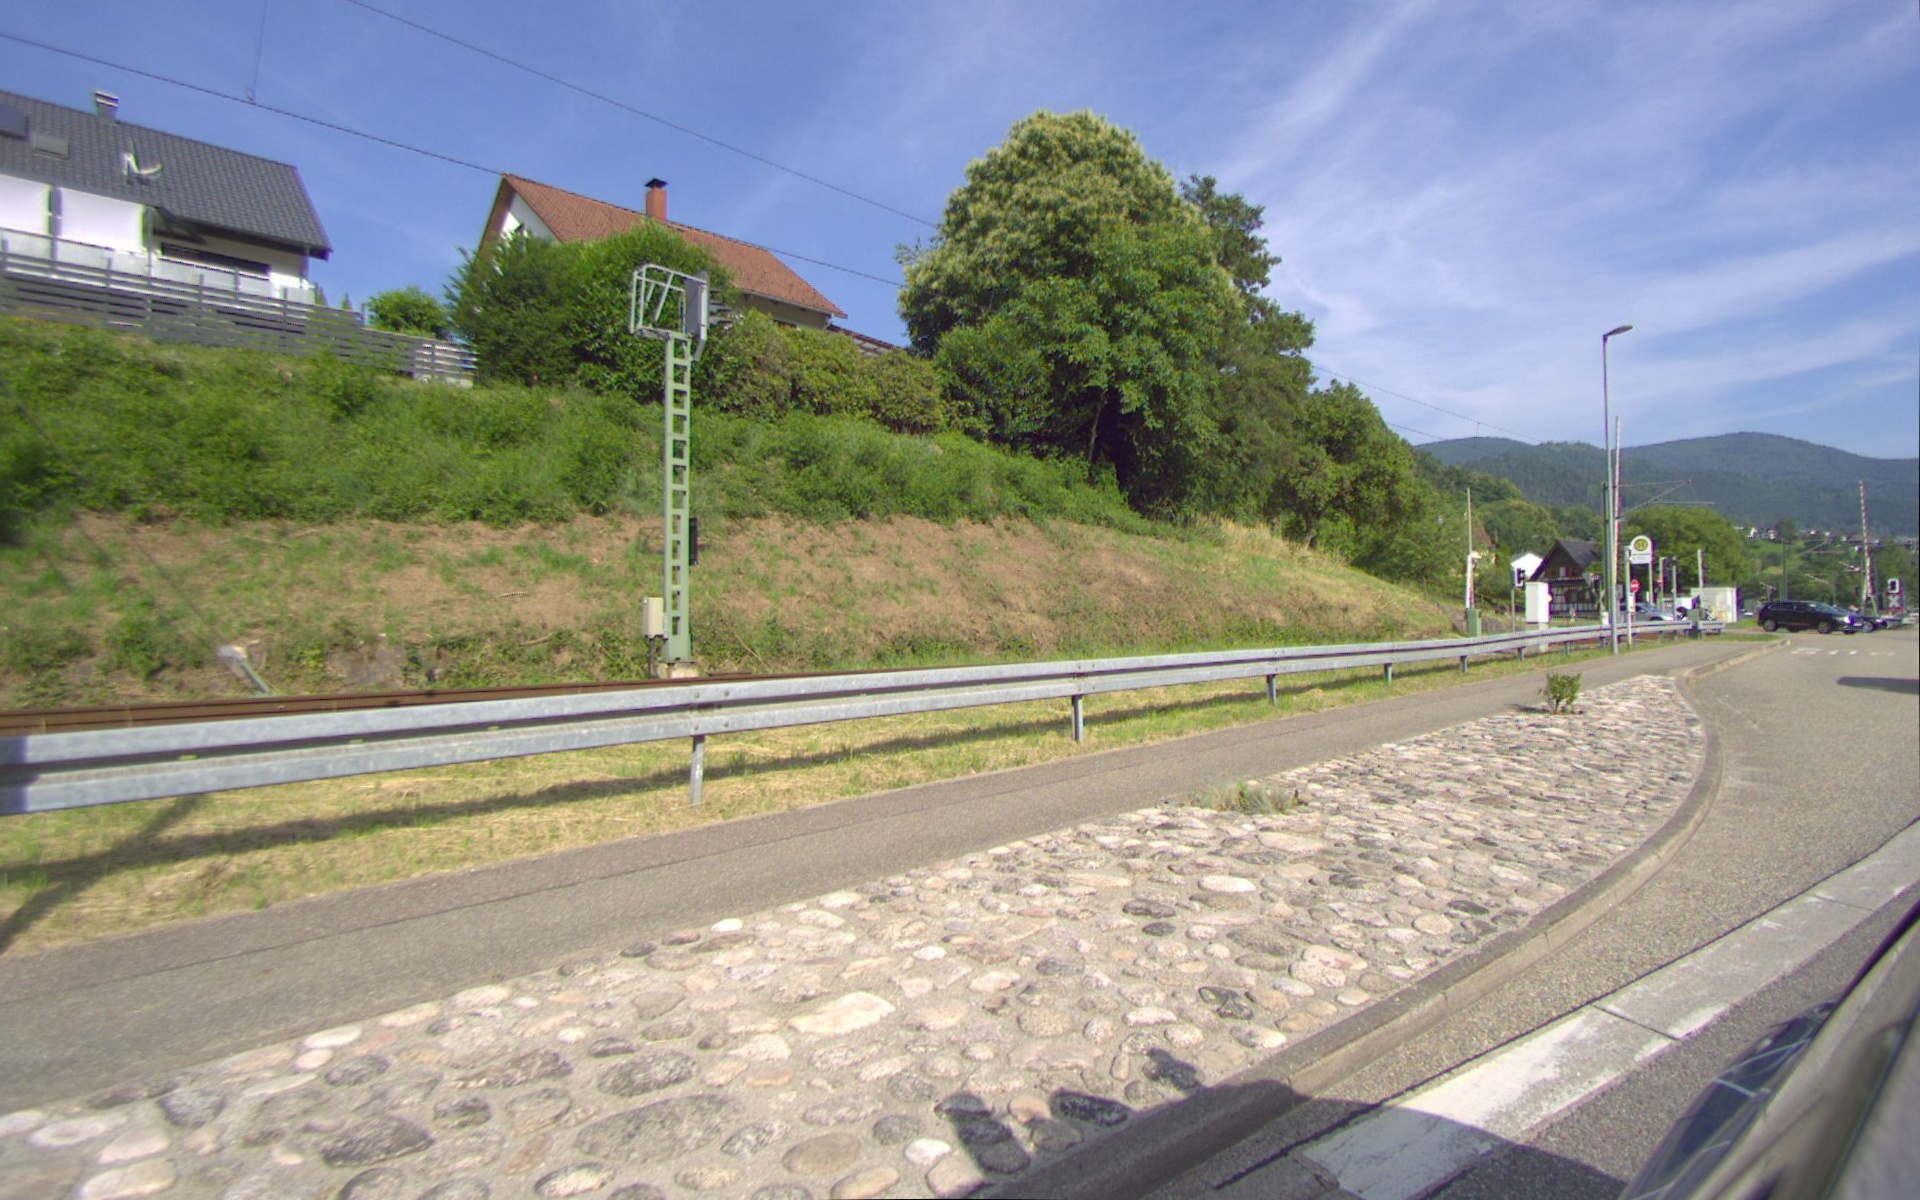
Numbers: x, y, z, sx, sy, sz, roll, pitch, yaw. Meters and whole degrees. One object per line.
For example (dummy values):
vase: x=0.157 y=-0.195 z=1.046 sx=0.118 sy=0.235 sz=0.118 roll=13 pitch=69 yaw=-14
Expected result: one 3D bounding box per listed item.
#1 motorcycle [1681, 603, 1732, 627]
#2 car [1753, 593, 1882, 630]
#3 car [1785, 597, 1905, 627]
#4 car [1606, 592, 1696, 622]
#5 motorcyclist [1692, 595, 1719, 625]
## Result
motorcycle: x=41.336 y=0.832 z=56.059 sx=0.782 sy=1.270 sz=2.102 roll=0 pitch=-2 yaw=-26
car: x=43.136 y=0.546 z=51.067 sx=1.890 sy=1.681 sz=4.751 roll=2 pitch=0 yaw=-13
car: x=48.004 y=0.605 z=54.998 sx=1.810 sy=1.488 sz=4.733 roll=0 pitch=1 yaw=-41
car: x=42.290 y=0.448 z=62.045 sx=1.798 sy=1.708 sz=4.128 roll=0 pitch=-2 yaw=-31
motorcyclist: x=41.325 y=0.551 z=56.115 sx=0.750 sy=1.617 sz=0.910 roll=0 pitch=-2 yaw=-27
